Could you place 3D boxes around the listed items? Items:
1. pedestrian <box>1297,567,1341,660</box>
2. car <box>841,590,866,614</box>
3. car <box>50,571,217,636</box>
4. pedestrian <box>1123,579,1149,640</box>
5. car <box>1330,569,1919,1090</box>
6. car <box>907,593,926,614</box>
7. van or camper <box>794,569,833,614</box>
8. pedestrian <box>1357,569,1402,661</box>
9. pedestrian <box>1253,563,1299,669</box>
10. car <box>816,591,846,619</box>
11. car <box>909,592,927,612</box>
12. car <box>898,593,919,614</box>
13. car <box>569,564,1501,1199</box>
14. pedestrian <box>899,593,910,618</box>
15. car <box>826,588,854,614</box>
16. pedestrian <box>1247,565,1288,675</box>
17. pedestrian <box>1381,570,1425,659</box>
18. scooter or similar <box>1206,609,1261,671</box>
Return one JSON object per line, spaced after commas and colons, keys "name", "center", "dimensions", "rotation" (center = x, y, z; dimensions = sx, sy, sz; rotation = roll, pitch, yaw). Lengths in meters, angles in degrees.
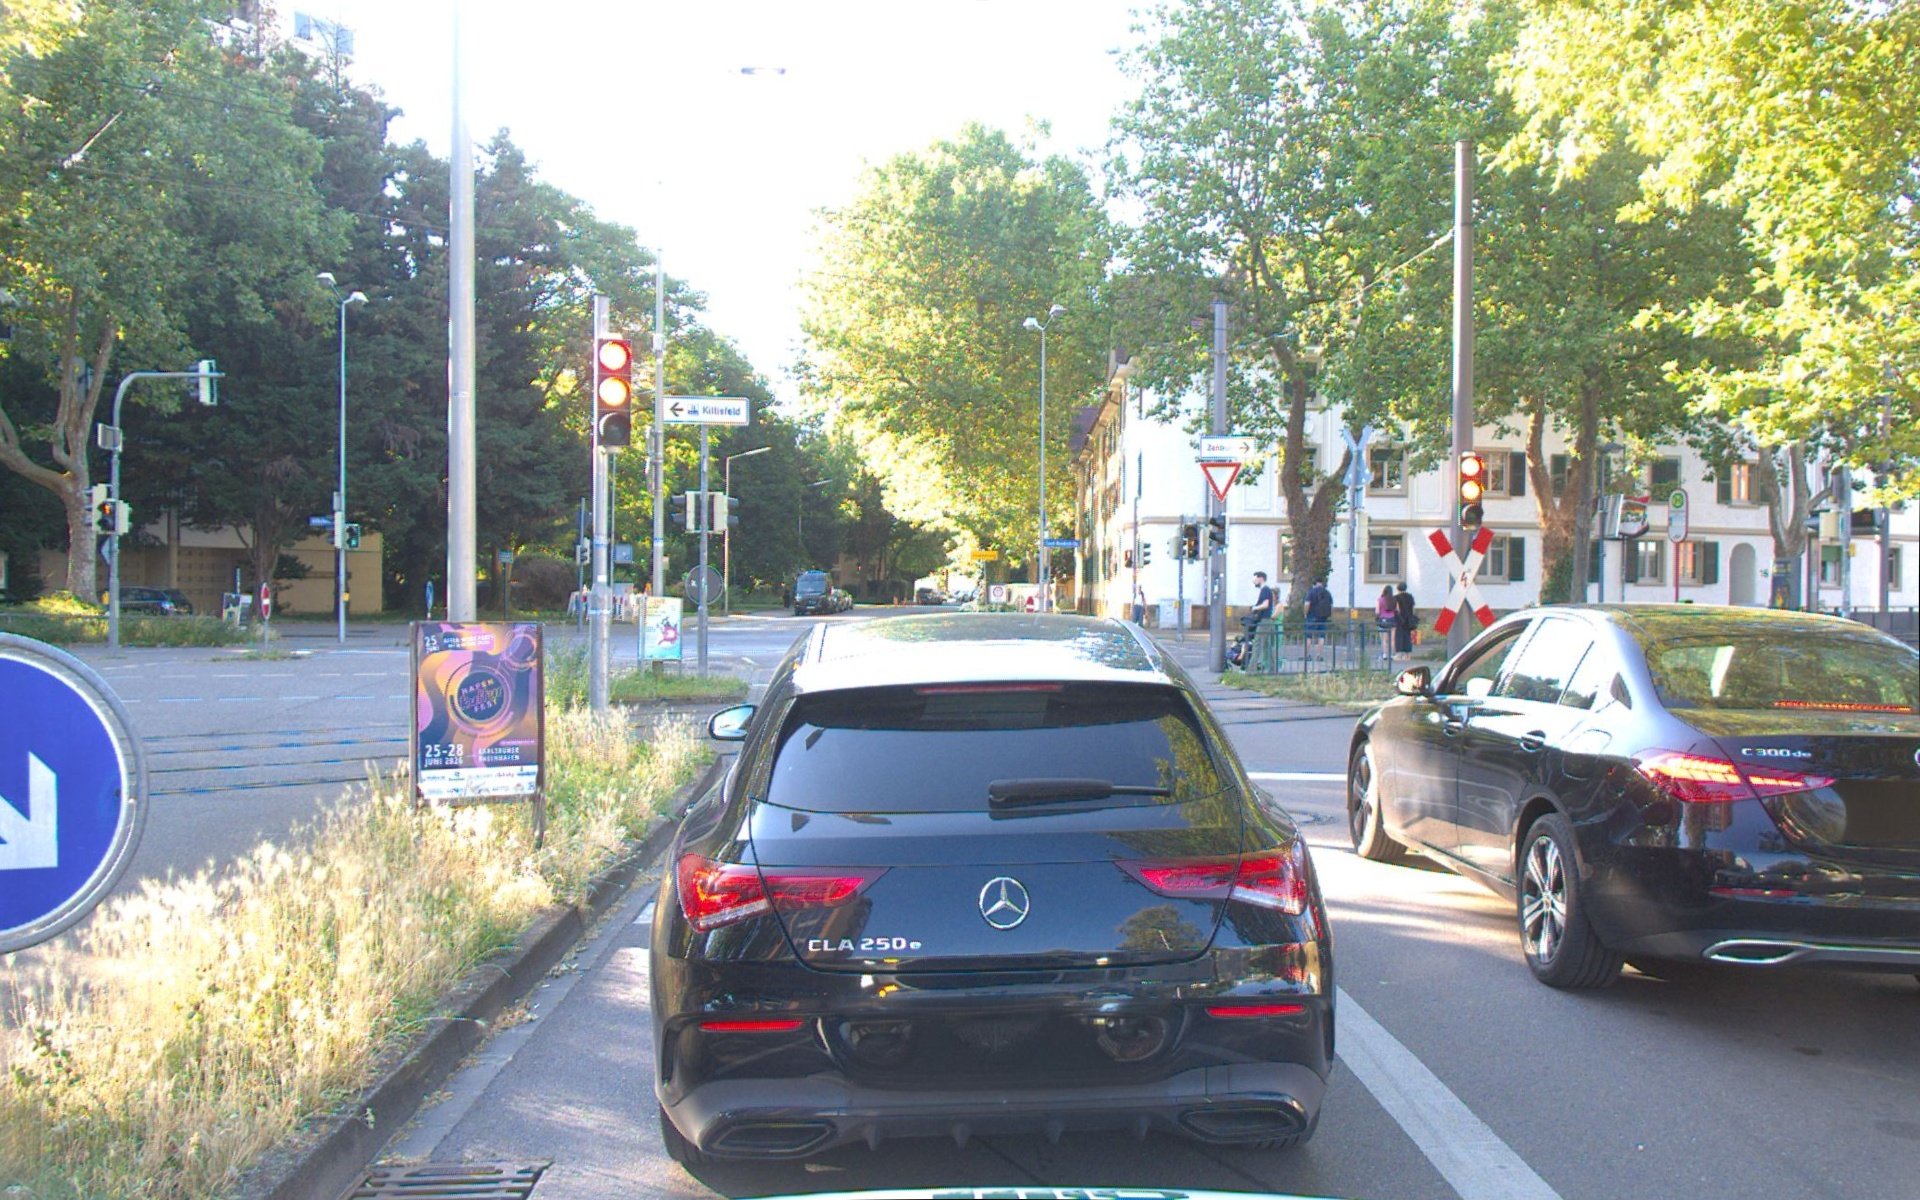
{"name": "pedestrian", "center": [7.678, 0.288, 35.420], "dimensions": [0.691, 1.951, 0.838], "rotation": [1, -1, -4]}
{"name": "car", "center": [-8.132, 0.146, 126.271], "dimensions": [1.698, 1.796, 3.970], "rotation": [1, 0, -1]}
{"name": "car", "center": [-24.377, 0.094, 48.843], "dimensions": [3.902, 1.805, 2.001], "rotation": [1, 0, 7]}
{"name": "pedestrian", "center": [5.749, 0.309, 54.079], "dimensions": [0.691, 1.951, 0.838], "rotation": [1, -1, -4]}
{"name": "car", "center": [3.115, 0.682, 7.311], "dimensions": [1.851, 1.516, 4.381], "rotation": [1, 2, -2]}
{"name": "car", "center": [-3.953, 0.320, 150.313], "dimensions": [1.698, 1.796, 4.018], "rotation": [1, 0, -1]}
{"name": "van or camper", "center": [-8.791, -0.485, 99.606], "dimensions": [1.953, 2.586, 4.650], "rotation": [1, 0, -1]}
{"name": "pedestrian", "center": [9.070, 0.330, 35.797], "dimensions": [0.691, 1.951, 0.838], "rotation": [1, -1, -4]}
{"name": "pedestrian", "center": [5.914, 0.307, 30.970], "dimensions": [0.669, 1.951, 0.706], "rotation": [1, -1, -5]}
{"name": "car", "center": [-8.531, 0.322, 109.619], "dimensions": [1.698, 1.796, 4.340], "rotation": [1, 0, -1]}
{"name": "car", "center": [-4.001, 0.210, 158.396], "dimensions": [1.698, 1.796, 4.018], "rotation": [1, 0, -1]}
{"name": "car", "center": [-4.528, 0.351, 145.483], "dimensions": [1.698, 1.796, 4.018], "rotation": [1, 0, -1]}
{"name": "car", "center": [0.164, 0.674, 5.329], "dimensions": [1.851, 1.475, 4.001], "rotation": [1, 2, 0]}
{"name": "pedestrian", "center": [-4.363, 0.456, 129.947], "dimensions": [0.692, 1.951, 0.837], "rotation": [1, -1, -11]}
{"name": "car", "center": [-8.483, 0.103, 117.407], "dimensions": [1.698, 1.796, 4.084], "rotation": [1, 0, -1]}
{"name": "pedestrian", "center": [5.567, 0.350, 29.887], "dimensions": [0.668, 1.951, 0.708], "rotation": [1, -1, 13]}
{"name": "pedestrian", "center": [9.860, 0.317, 36.809], "dimensions": [0.691, 1.951, 0.838], "rotation": [1, -1, -4]}
{"name": "scooter or similar", "center": [5.059, 0.733, 30.662], "dimensions": [0.812, 1.124, 0.808], "rotation": [1, 0, -6]}
